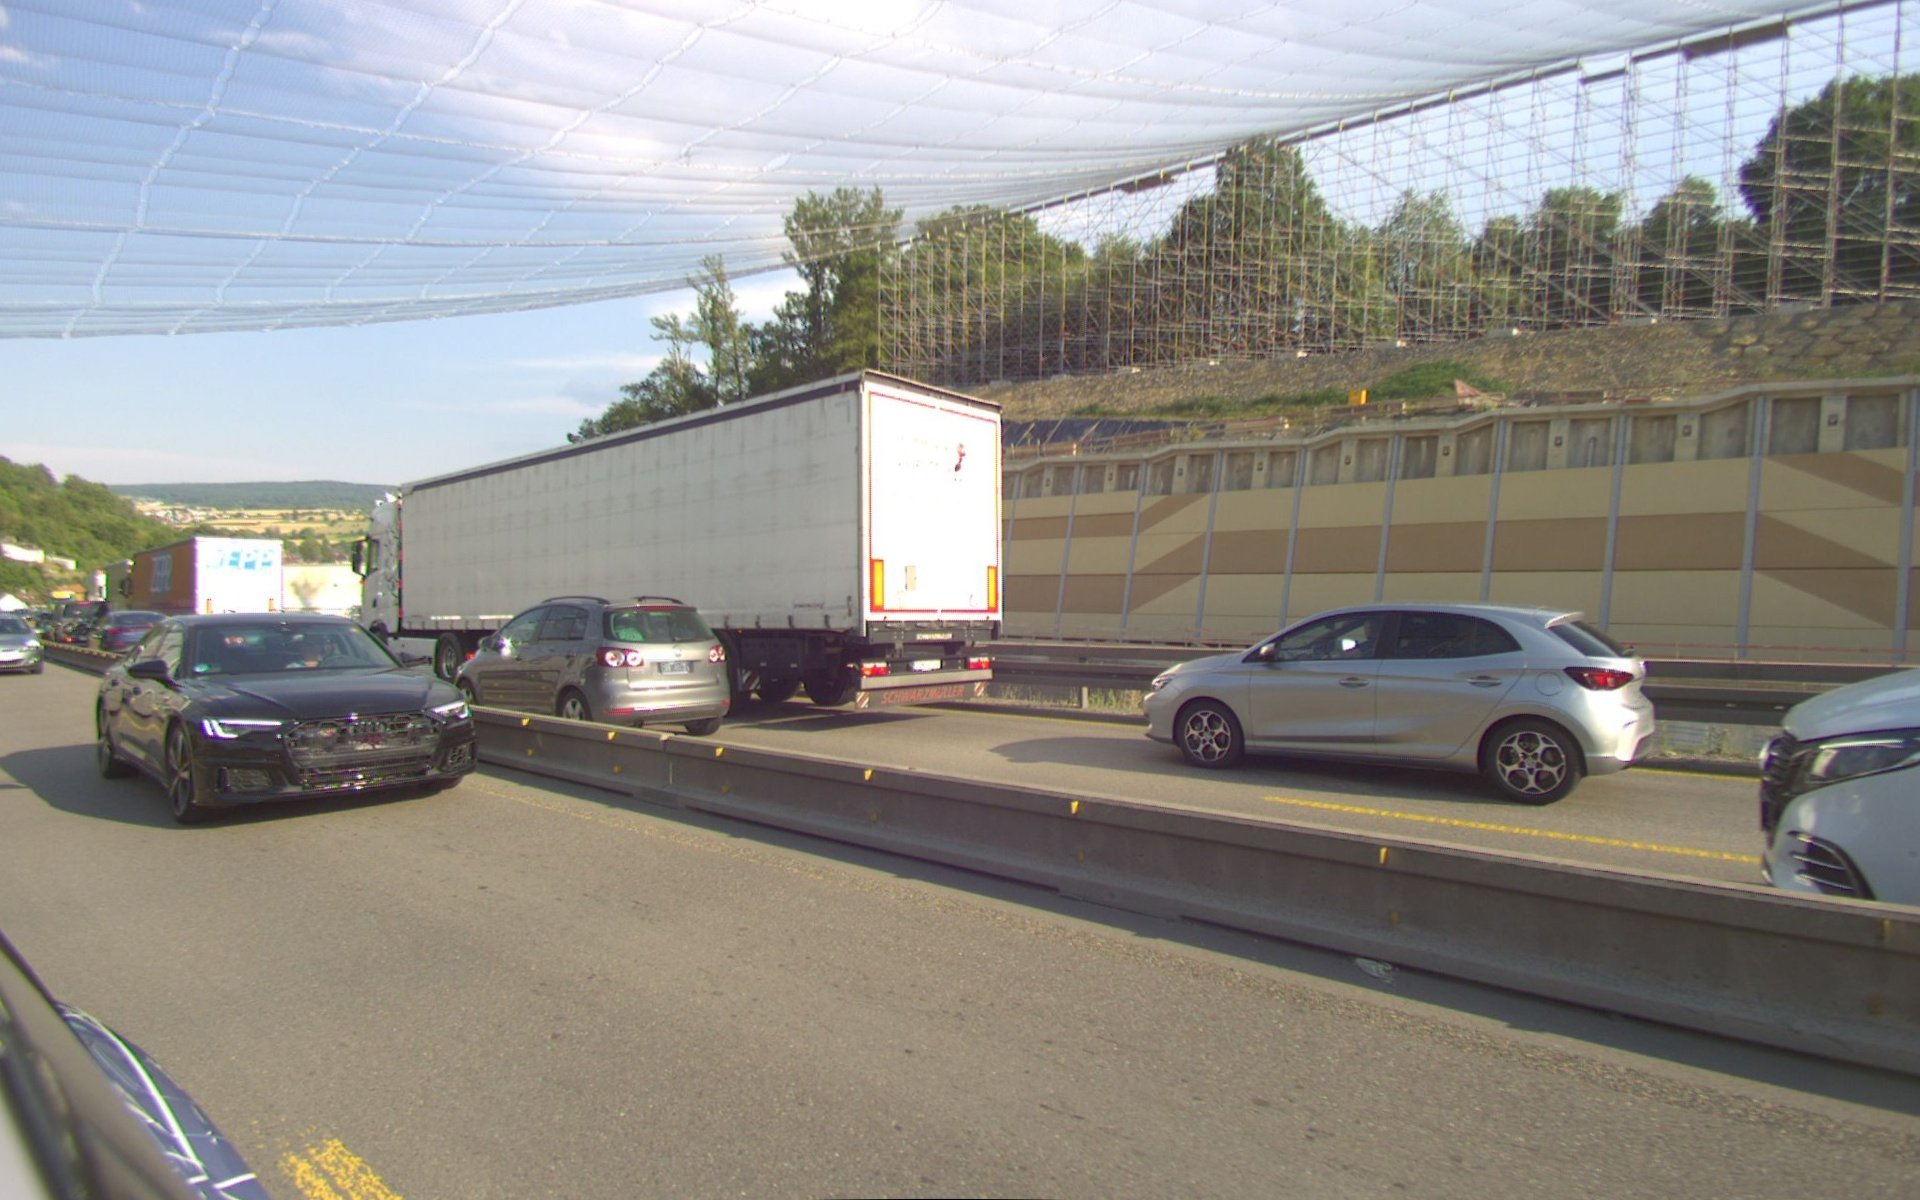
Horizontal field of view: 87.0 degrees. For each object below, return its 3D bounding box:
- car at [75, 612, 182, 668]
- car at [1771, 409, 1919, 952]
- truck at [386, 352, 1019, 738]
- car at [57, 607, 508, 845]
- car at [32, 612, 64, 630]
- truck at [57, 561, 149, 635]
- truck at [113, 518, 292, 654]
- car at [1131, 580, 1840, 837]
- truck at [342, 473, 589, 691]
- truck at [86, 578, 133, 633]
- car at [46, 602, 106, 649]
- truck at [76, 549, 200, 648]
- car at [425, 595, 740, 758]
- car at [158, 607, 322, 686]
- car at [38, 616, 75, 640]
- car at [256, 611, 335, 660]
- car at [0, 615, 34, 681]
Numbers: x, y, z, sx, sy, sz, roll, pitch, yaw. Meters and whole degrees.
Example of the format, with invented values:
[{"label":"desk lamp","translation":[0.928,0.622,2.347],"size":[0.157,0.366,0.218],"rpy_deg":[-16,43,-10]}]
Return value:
[{"label":"car","translation":[-25.196,1.142,30.592],"size":[4.979,1.530,1.913],"rpy_deg":[-1,0,44]},{"label":"car","translation":[5.606,0.250,2.745],"size":[5.277,1.883,1.790],"rpy_deg":[-1,0,40]},{"label":"truck","translation":[-5.442,-0.549,16.872],"size":[14.161,4.259,2.693],"rpy_deg":[-1,0,41]},{"label":"car","translation":[-5.895,0.812,8.504],"size":[4.958,1.409,1.914],"rpy_deg":[-1,0,41]},{"label":"car","translation":[-65.907,1.530,73.138],"size":[3.292,1.243,1.384],"rpy_deg":[-1,0,42]},{"label":"truck","translation":[-59.237,-0.054,69.722],"size":[17.409,4.593,2.954],"rpy_deg":[-1,0,44]},{"label":"truck","translation":[-31.256,-0.414,41.180],"size":[17.409,4.593,2.954],"rpy_deg":[-1,0,44]},{"label":"car","translation":[4.012,0.673,8.401],"size":[4.906,1.552,1.774],"rpy_deg":[-1,0,40]},{"label":"truck","translation":[-10.483,-0.309,21.183],"size":[6.046,3.937,2.490],"rpy_deg":[-1,0,41]},{"label":"truck","translation":[-80.847,0.533,96.048],"size":[3.122,4.881,14.377],"rpy_deg":[-1,0,-41]},{"label":"car","translation":[-36.633,1.039,41.902],"size":[1.702,1.841,3.295],"rpy_deg":[-1,0,-44]},{"label":"truck","translation":[-44.541,-0.003,54.459],"size":[17.409,4.593,2.954],"rpy_deg":[-1,0,44]},{"label":"car","translation":[-4.491,0.750,11.715],"size":[4.215,1.563,1.566],"rpy_deg":[-1,0,40]},{"label":"car","translation":[-15.925,0.944,22.291],"size":[4.643,1.546,1.914],"rpy_deg":[-1,0,41]},{"label":"car","translation":[-44.996,1.371,50.382],"size":[2.727,1.122,1.150],"rpy_deg":[-1,0,44]},{"label":"car","translation":[-20.856,1.082,31.731],"size":[3.293,1.426,1.352],"rpy_deg":[-1,0,44]},{"label":"car","translation":[-23.606,1.127,24.387],"size":[1.735,1.484,4.355],"rpy_deg":[-1,0,-45]}]
